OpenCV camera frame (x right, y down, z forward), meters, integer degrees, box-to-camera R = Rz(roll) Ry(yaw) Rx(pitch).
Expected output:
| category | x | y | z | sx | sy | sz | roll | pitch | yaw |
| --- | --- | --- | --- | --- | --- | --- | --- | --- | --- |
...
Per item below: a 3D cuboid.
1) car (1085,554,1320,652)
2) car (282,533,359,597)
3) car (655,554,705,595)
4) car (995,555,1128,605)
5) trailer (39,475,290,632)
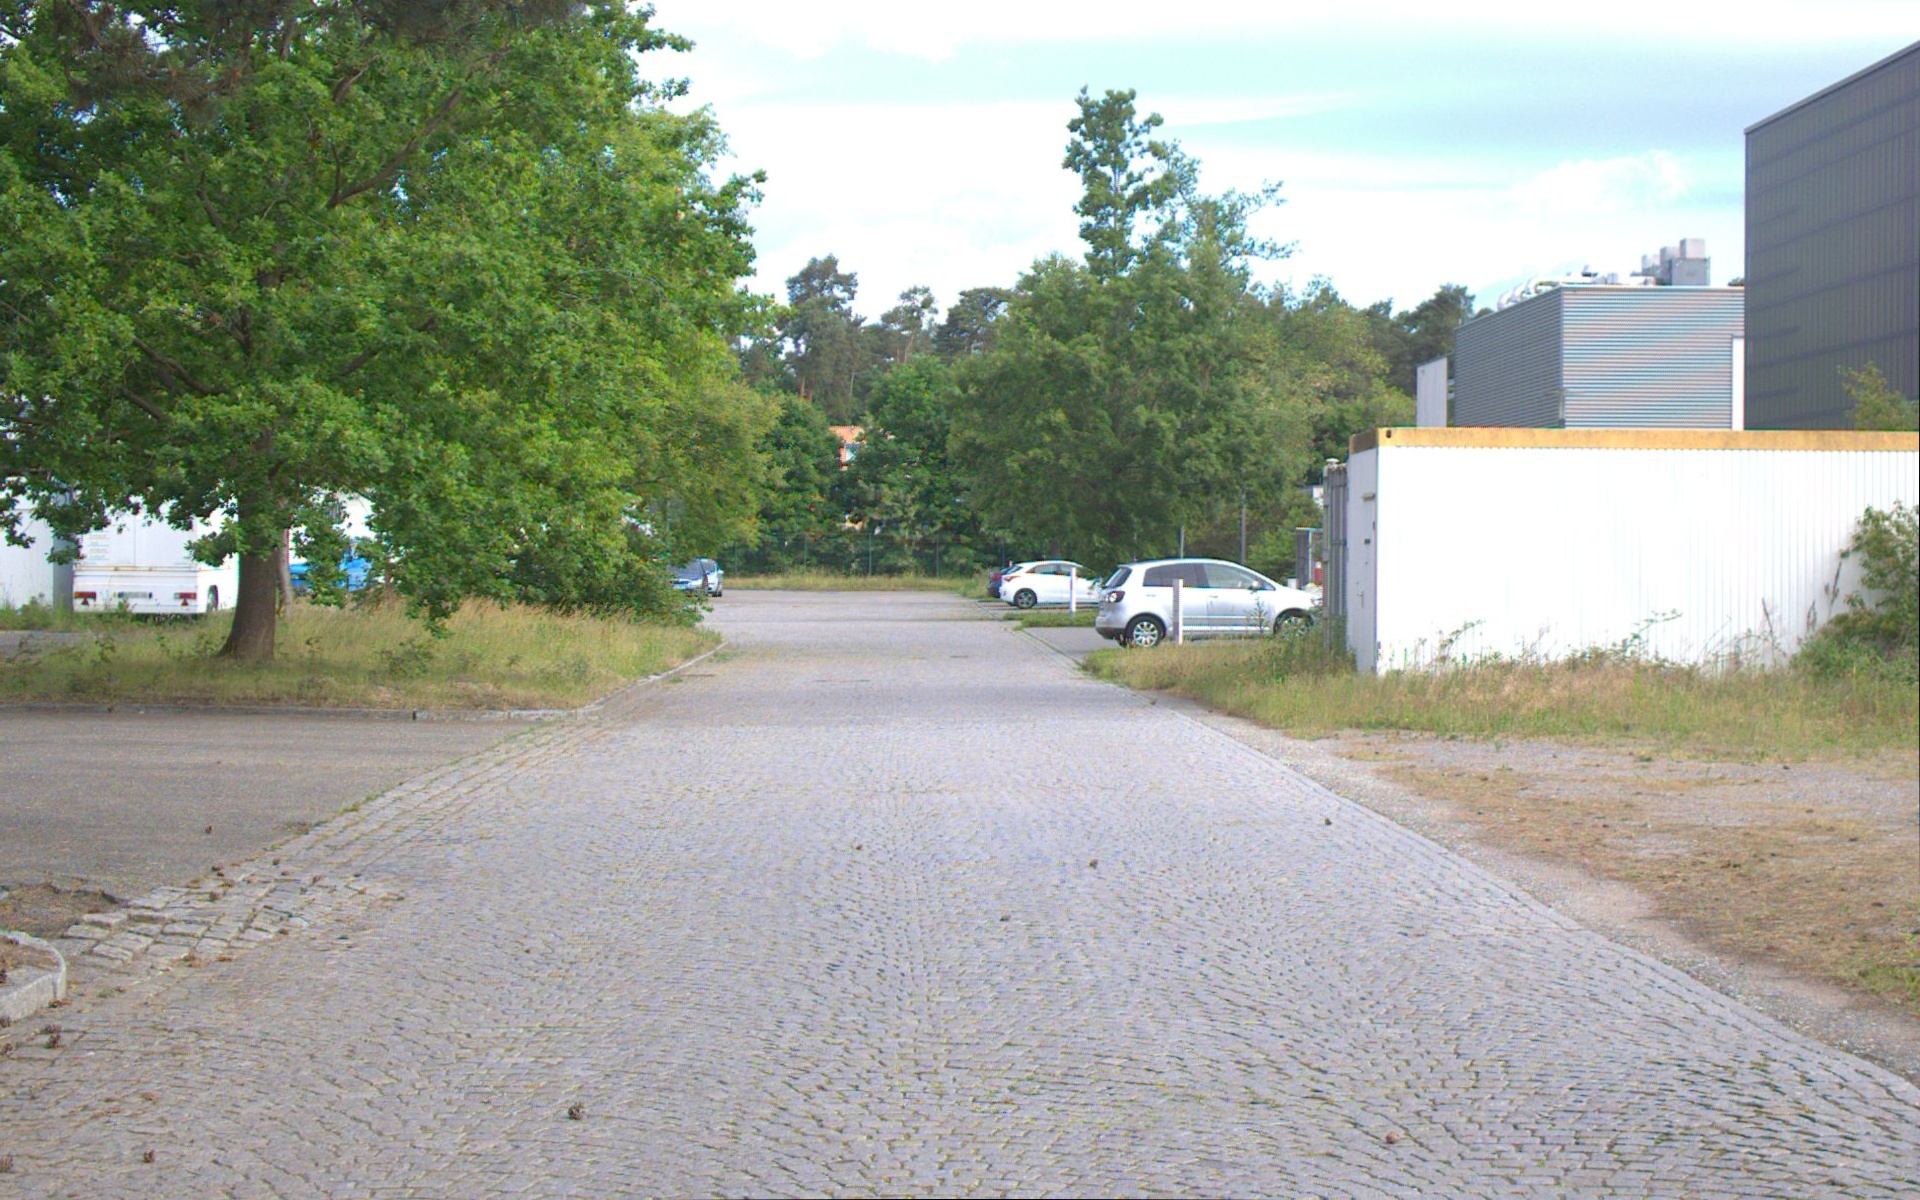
| category | x | y | z | sx | sy | sz | roll | pitch | yaw |
| --- | --- | --- | --- | --- | --- | --- | --- | --- | --- |
| car | 4.189 | 0.047 | 59.691 | 3.849 | 1.649 | 1.686 | 0 | 1 | -4 |
| car | -20.924 | -1.139 | 112.585 | 1.925 | 2.040 | 4.601 | 0 | 1 | -4 |
| car | -10.152 | -0.927 | 124.627 | 1.734 | 1.464 | 4.046 | 0 | 1 | -4 |
| car | 3.123 | -0.627 | 105.830 | 4.025 | 1.496 | 1.548 | 1 | 1 | 0 |
| trailer | -16.491 | -0.979 | 71.947 | 3.158 | 3.057 | 8.784 | 1 | 1 | 0 |
